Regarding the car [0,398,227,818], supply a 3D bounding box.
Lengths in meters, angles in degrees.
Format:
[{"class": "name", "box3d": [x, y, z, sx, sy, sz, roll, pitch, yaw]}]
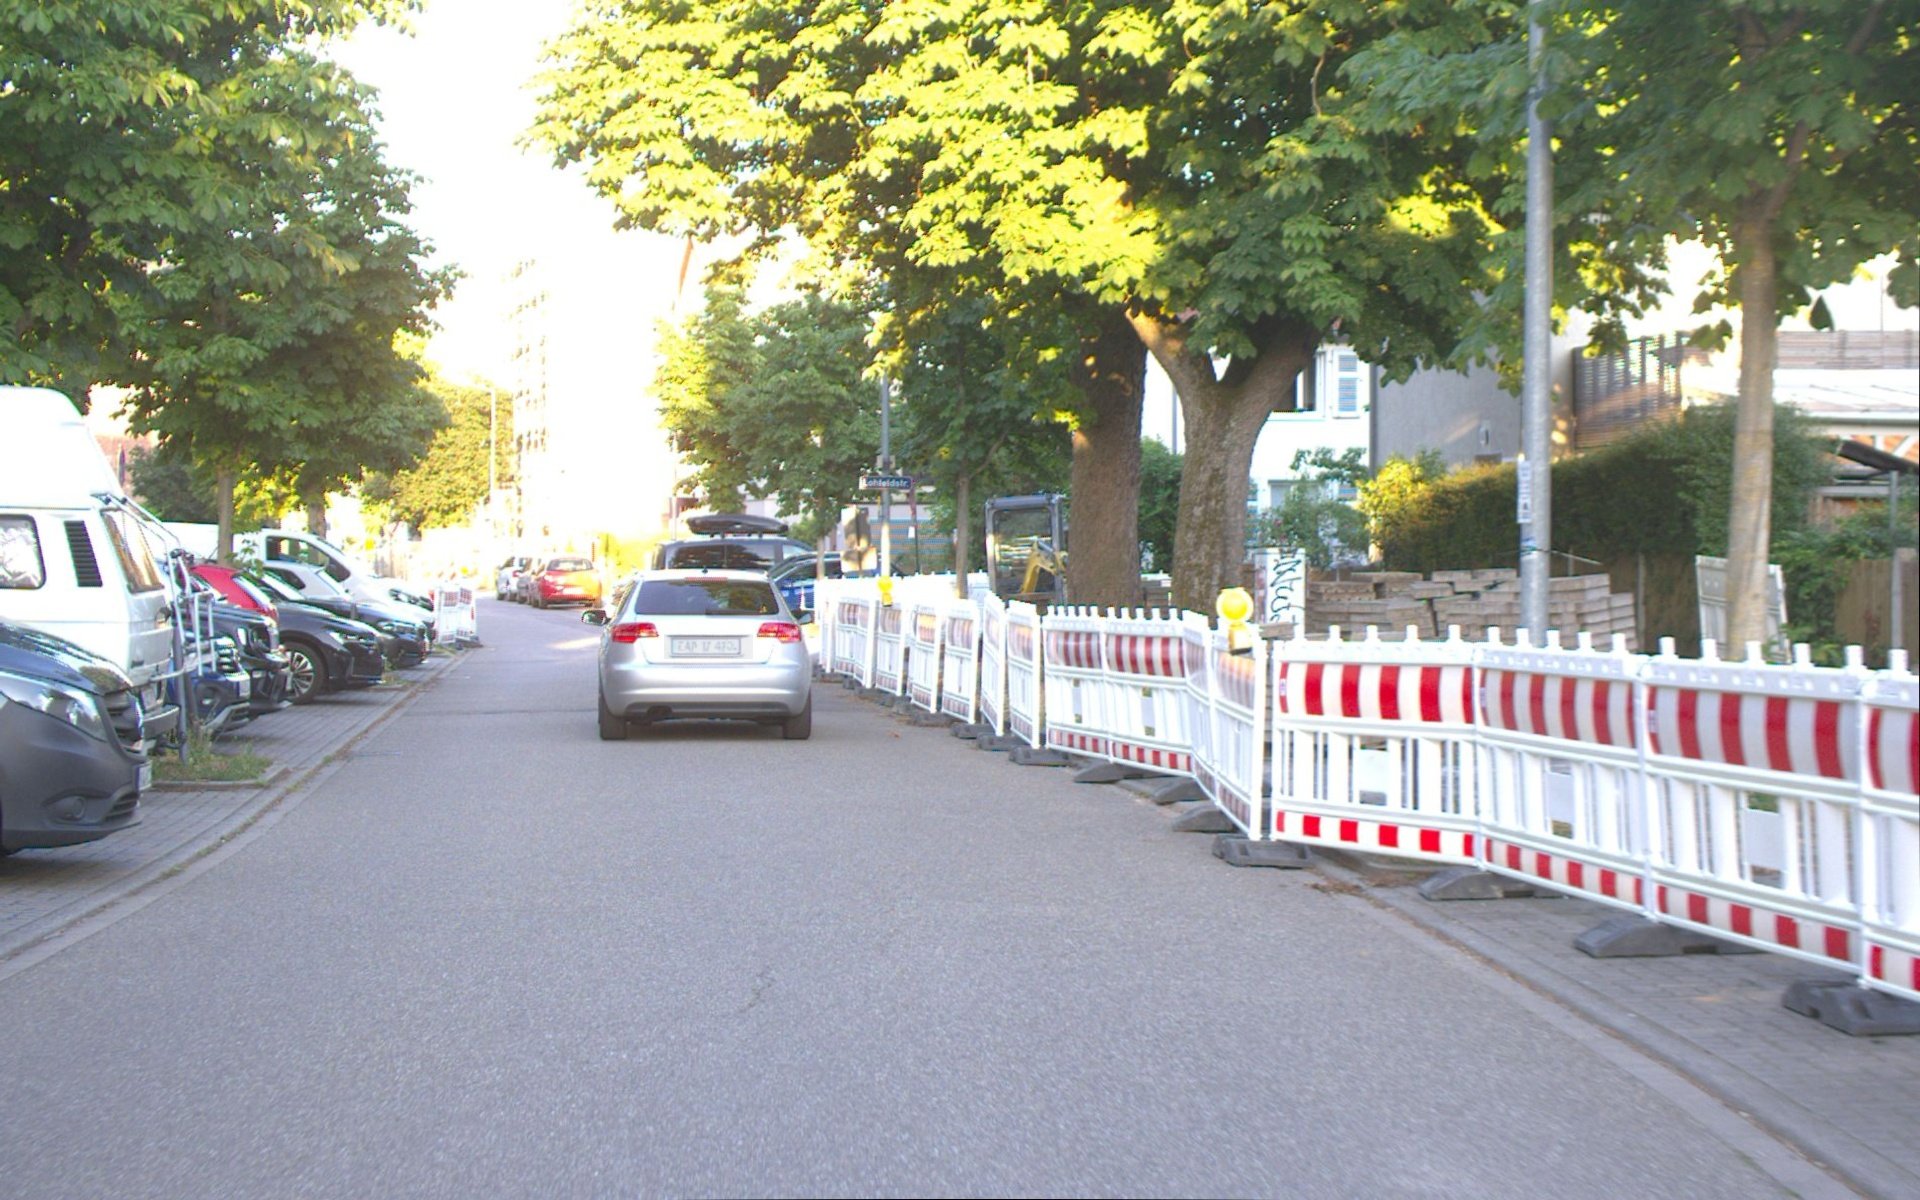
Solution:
[{"class": "car", "box3d": [-6.841, 0.022, 20.742, 4.501, 2.422, 2.000, 0, 1, -5]}]

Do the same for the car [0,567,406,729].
[{"class": "car", "box3d": [-8.016, 0.484, 35.712, 4.405, 1.609, 1.900, 0, 1, -11]}]

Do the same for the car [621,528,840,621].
[{"class": "car", "box3d": [-5.169, -0.578, 77.202, 4.555, 2.016, 2.102, 0, 1, -15]}]

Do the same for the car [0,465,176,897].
[{"class": "car", "box3d": [-6.098, 0.322, 15.698, 4.672, 1.867, 2.000, 0, 1, -5]}]

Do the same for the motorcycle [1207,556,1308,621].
[{"class": "motorcycle", "box3d": [5.114, -0.204, 58.994, 1.841, 1.102, 0.581, 0, 1, -40]}]

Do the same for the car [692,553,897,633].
[{"class": "car", "box3d": [-3.493, -0.151, 72.385, 3.986, 1.645, 1.765, 0, 1, -17]}]

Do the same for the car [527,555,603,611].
[{"class": "car", "box3d": [-10.818, -0.465, 93.966, 1.729, 1.478, 3.558, 0, 1, -12]}]

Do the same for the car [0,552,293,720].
[{"class": "car", "box3d": [-8.599, 0.333, 33.502, 3.986, 1.578, 1.731, 0, 1, -6]}]

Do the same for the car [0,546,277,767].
[{"class": "car", "box3d": [-7.192, 0.392, 25.736, 3.860, 1.589, 1.786, 0, 1, -3]}]

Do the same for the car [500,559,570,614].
[{"class": "car", "box3d": [-12.947, -0.416, 104.575, 1.808, 1.607, 3.582, 0, 1, -12]}]

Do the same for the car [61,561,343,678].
[{"class": "car", "box3d": [-9.904, 0.244, 45.130, 3.414, 1.478, 1.759, 0, 1, -5]}]

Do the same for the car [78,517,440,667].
[{"class": "car", "box3d": [-9.658, -0.118, 47.692, 4.771, 2.007, 2.001, 0, 1, -7]}]

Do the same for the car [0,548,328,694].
[{"class": "car", "box3d": [-9.095, 0.220, 38.394, 3.986, 1.573, 1.802, 0, 1, -11]}]

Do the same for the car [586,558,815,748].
[{"class": "car", "box3d": [-2.283, 0.399, 29.410, 1.807, 1.483, 4.001, 0, 1, -6]}]

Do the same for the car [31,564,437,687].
[{"class": "car", "box3d": [-8.928, 0.311, 42.604, 4.771, 1.465, 1.881, 0, 0, -7]}]

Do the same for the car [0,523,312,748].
[{"class": "car", "box3d": [-7.387, 0.266, 28.200, 3.860, 1.771, 1.843, 0, 1, -3]}]

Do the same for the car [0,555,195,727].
[{"class": "car", "box3d": [-9.040, 0.349, 31.229, 3.986, 1.519, 1.790, 0, 1, -9]}]

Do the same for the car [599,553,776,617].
[{"class": "car", "box3d": [-6.901, -0.372, 86.923, 4.148, 1.567, 1.798, 0, 1, -17]}]

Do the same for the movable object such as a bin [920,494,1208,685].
[{"class": "movable object such as a bin", "box3d": [1.288, -0.167, 45.723, 2.627, 2.394, 5.199, 0, 1, -12]}]
